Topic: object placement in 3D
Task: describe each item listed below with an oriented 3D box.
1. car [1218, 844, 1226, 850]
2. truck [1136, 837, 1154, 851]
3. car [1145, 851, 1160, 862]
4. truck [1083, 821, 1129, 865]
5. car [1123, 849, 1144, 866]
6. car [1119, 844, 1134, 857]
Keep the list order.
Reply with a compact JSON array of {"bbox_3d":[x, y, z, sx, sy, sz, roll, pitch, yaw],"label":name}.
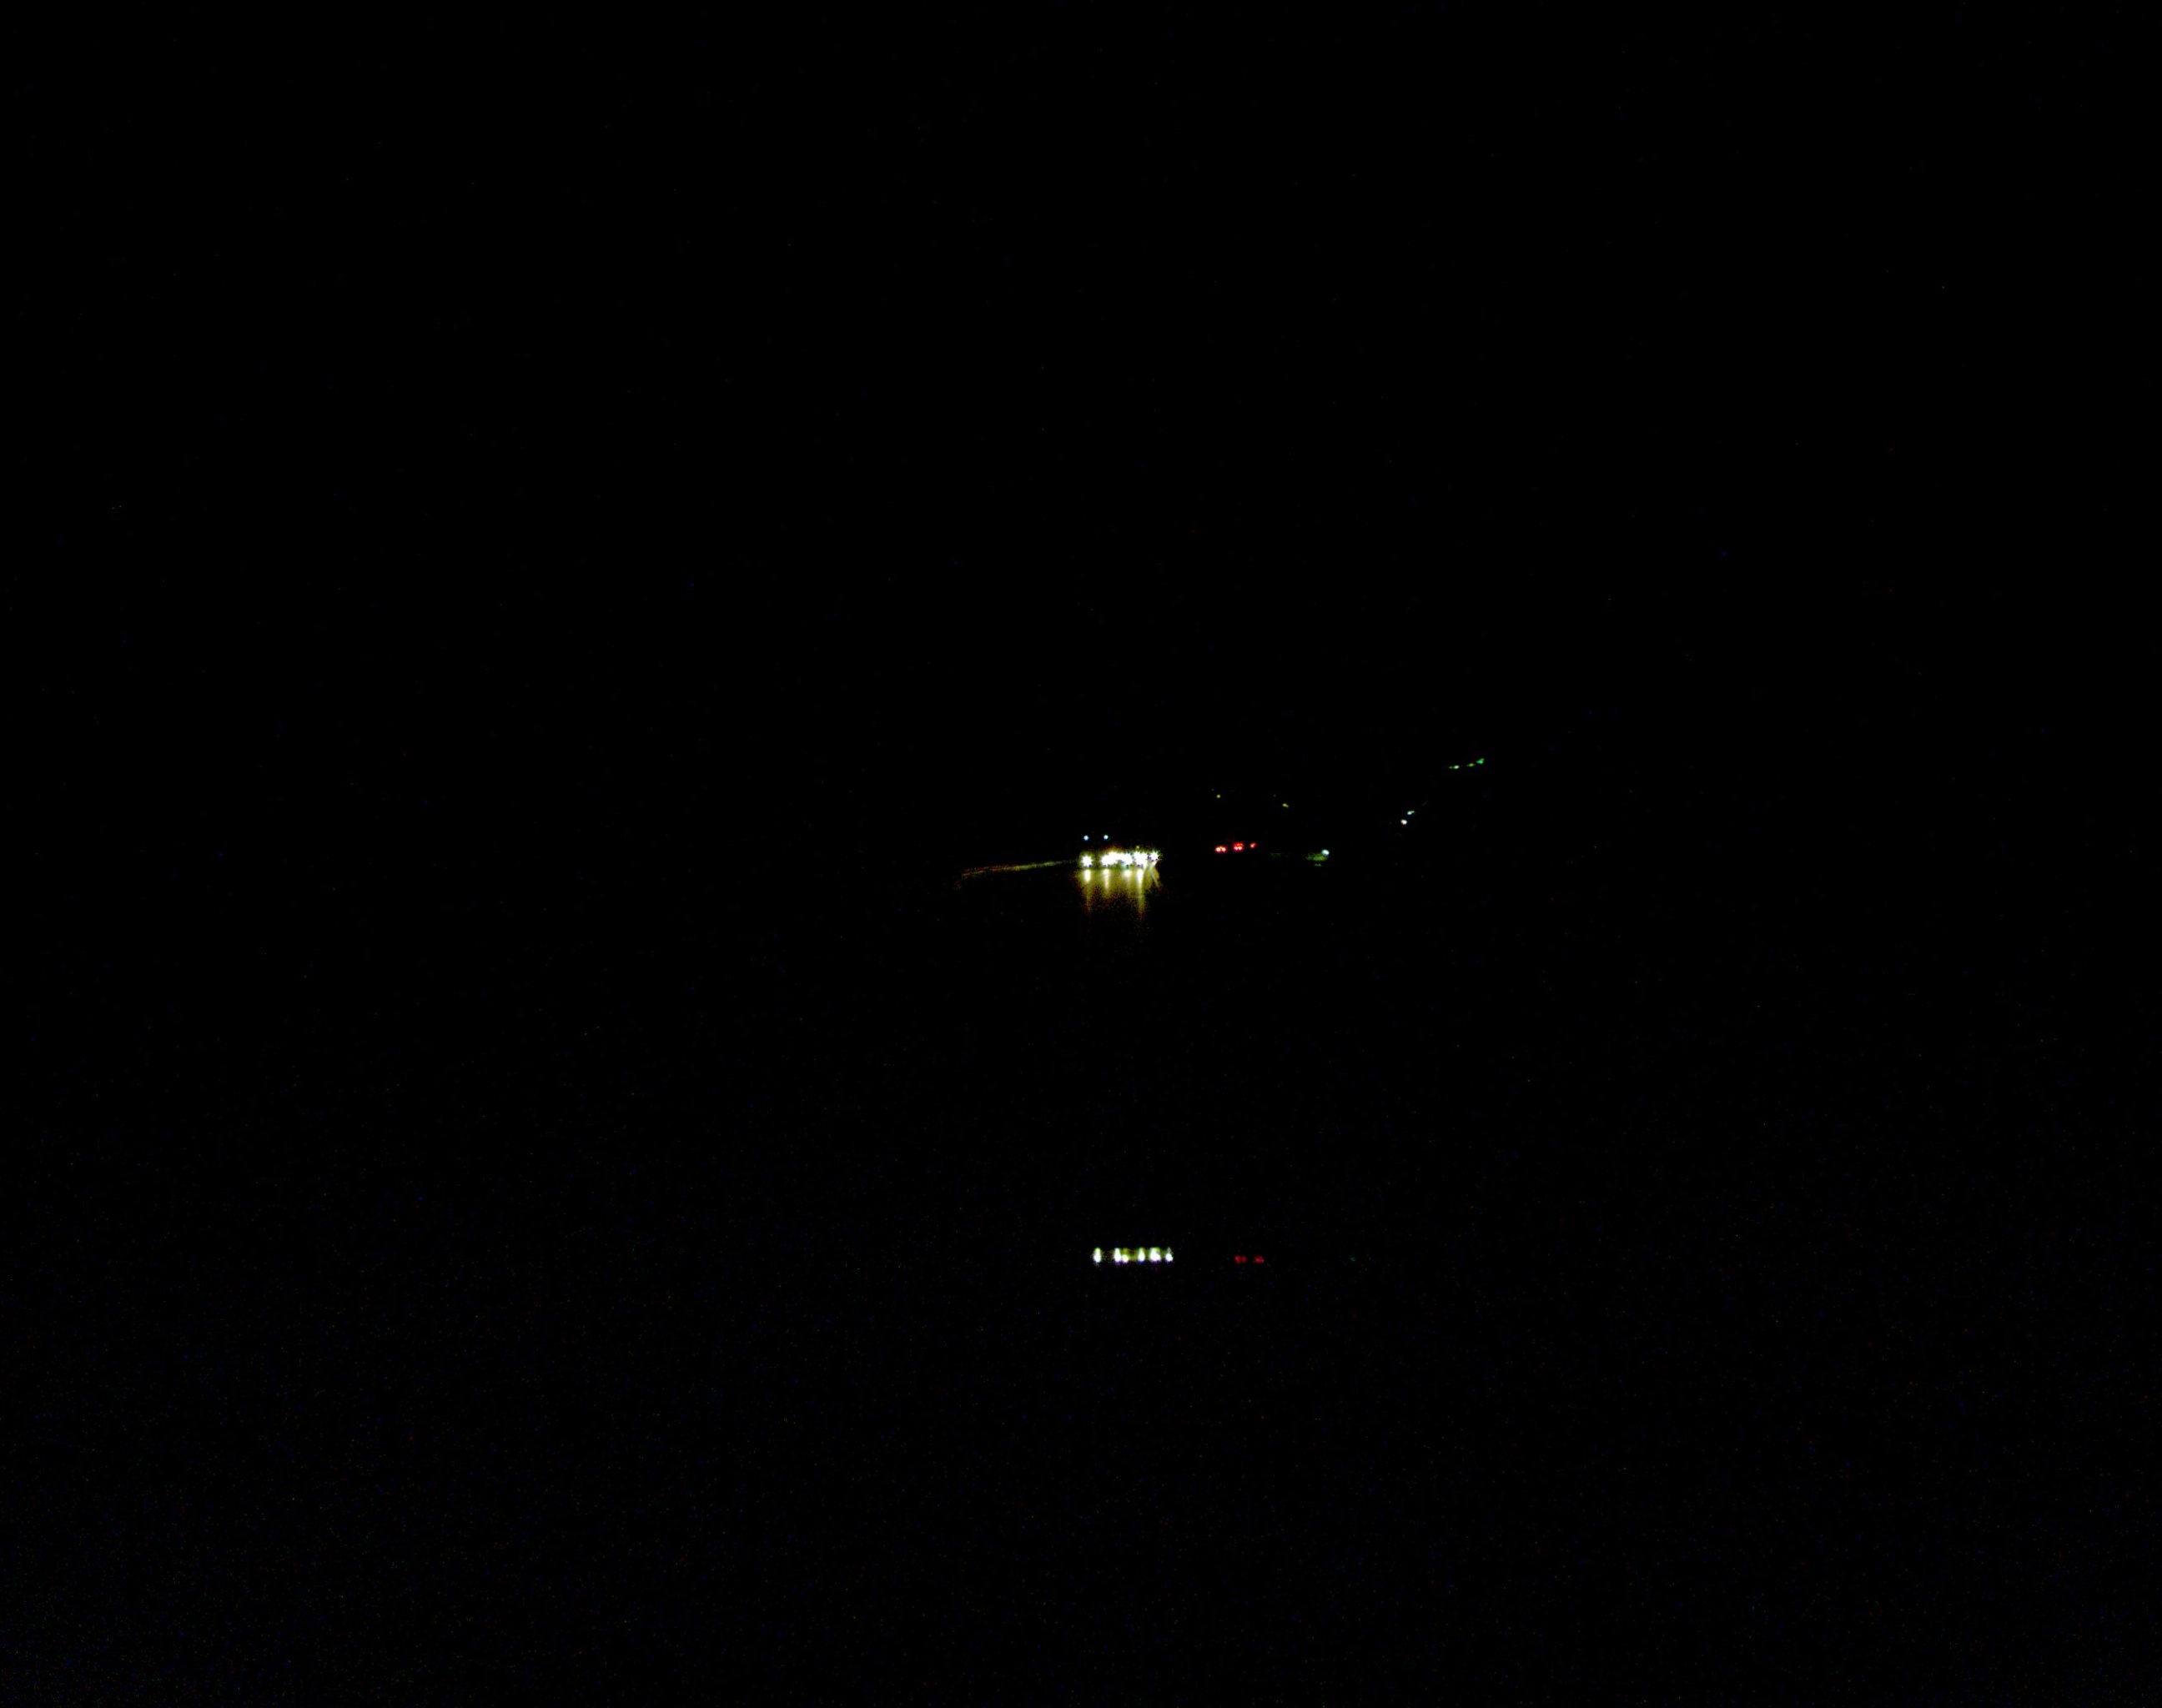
[{"bbox_3d":[38.617,-1.914,208.460,1.810,1.508,3.940,-1,-1,16],"label":"car"},{"bbox_3d":[11.526,-1.825,136.400,2.425,2.410,7.096,-1,0,10],"label":"truck"},{"bbox_3d":[10.259,0.315,109.186,1.811,1.508,3.939,-1,-1,10],"label":"car"},{"bbox_3d":[2.939,-1.233,82.718,2.970,4.250,17.152,-1,1,8],"label":"truck"},{"bbox_3d":[5.084,0.340,72.953,1.811,1.508,3.938,-1,-1,7],"label":"car"},{"bbox_3d":[6.466,-0.471,107.969,1.690,1.619,4.726,-1,-1,9],"label":"car"}]
